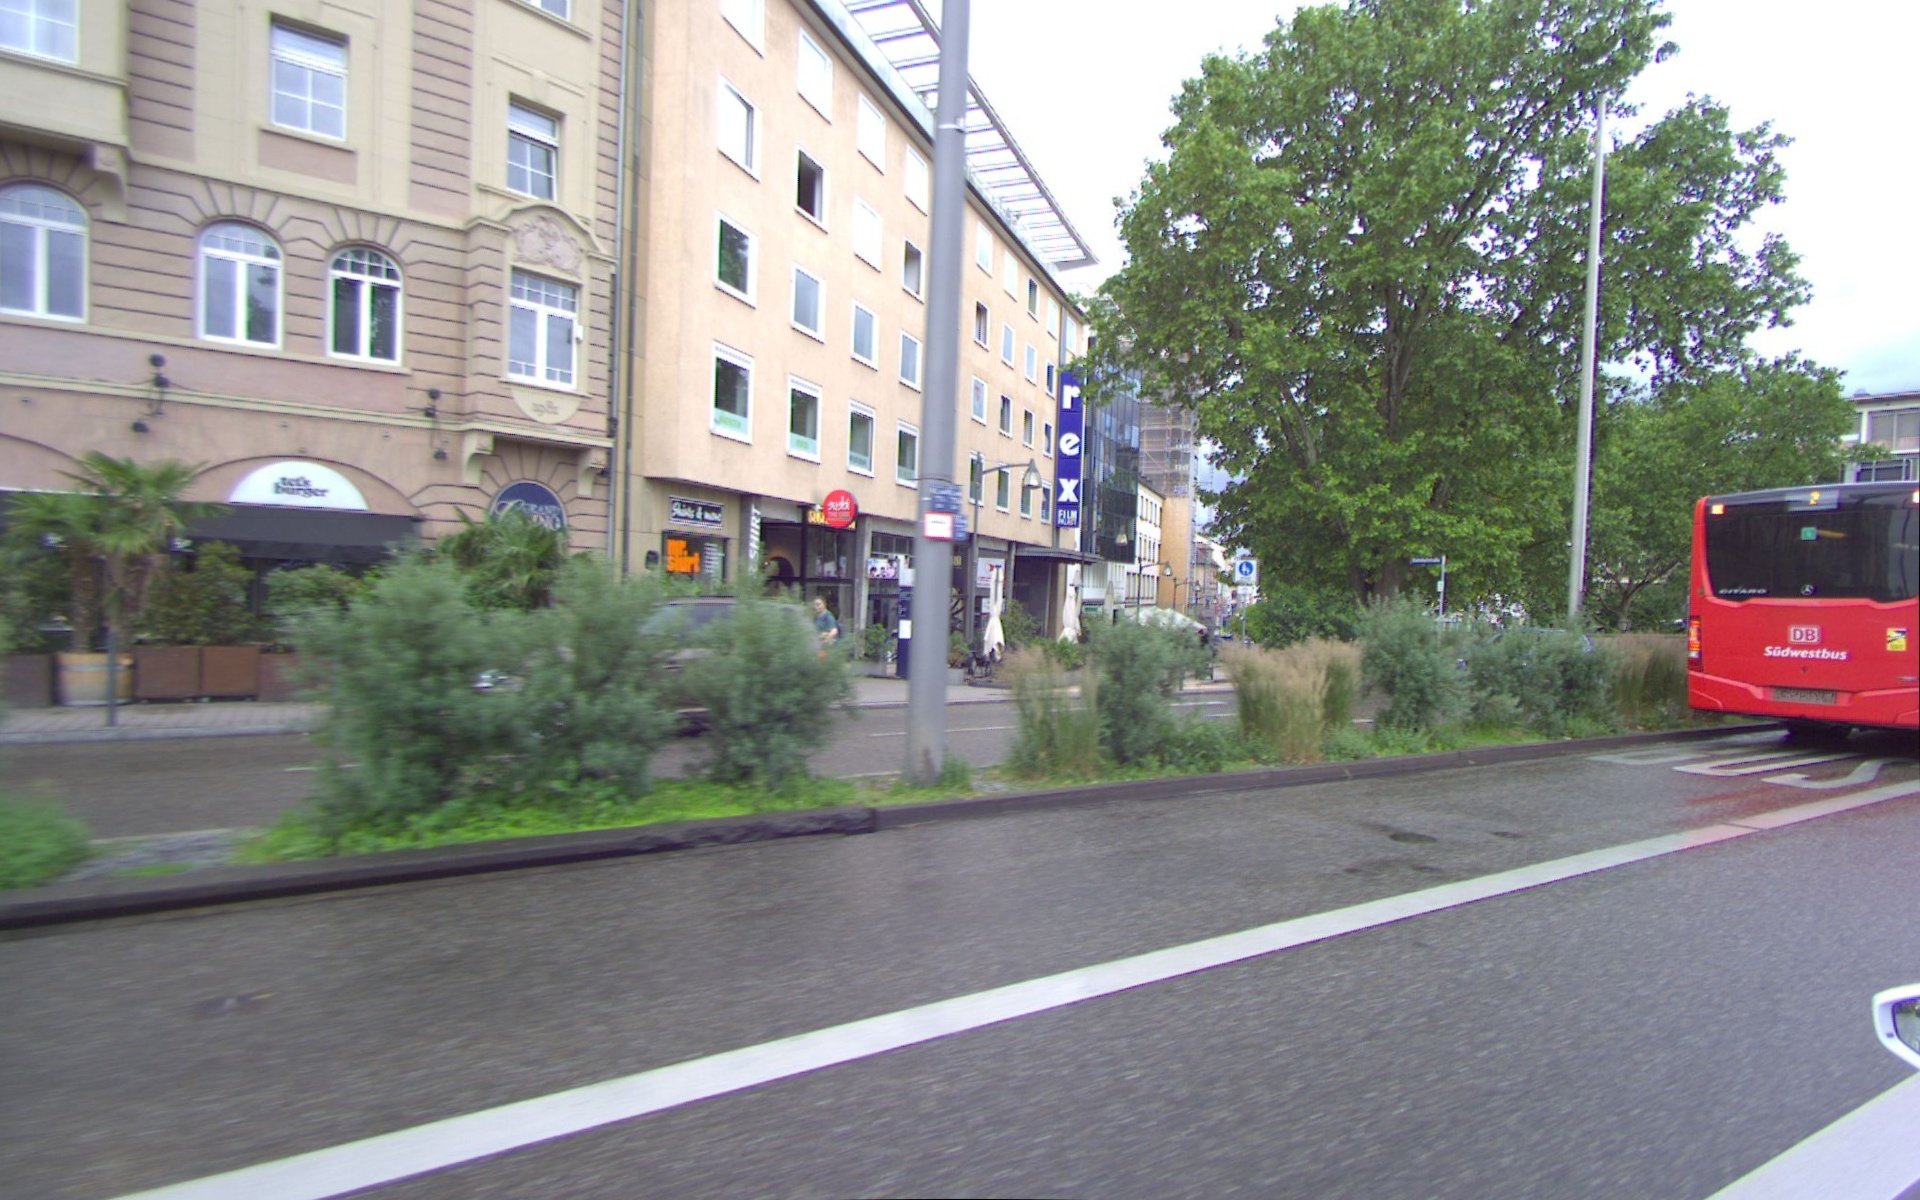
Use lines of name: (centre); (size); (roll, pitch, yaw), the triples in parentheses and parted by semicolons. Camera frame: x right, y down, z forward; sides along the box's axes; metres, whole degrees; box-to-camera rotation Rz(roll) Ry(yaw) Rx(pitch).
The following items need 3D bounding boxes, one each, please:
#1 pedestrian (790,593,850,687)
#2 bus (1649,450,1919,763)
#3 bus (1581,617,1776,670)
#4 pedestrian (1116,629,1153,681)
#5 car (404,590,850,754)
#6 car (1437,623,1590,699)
pedestrian: (-2.369, 0.670, 16.997); (0.722, 1.550, 0.683); (1, -1, -43)
bus: (13.676, 0.186, 14.124); (9.800, 3.289, 2.795); (2, -1, -31)
bus: (46.671, 2.922, 66.027); (2.837, 3.058, 11.958); (2, -3, -9)
pedestrian: (5.571, 1.738, 32.022); (0.983, 1.582, 0.969); (2, 0, 17)
car: (-3.796, 0.757, 11.849); (4.691, 1.600, 1.779); (2, -1, -34)
car: (13.123, 1.384, 23.715); (4.113, 1.600, 1.776); (2, -1, -40)
